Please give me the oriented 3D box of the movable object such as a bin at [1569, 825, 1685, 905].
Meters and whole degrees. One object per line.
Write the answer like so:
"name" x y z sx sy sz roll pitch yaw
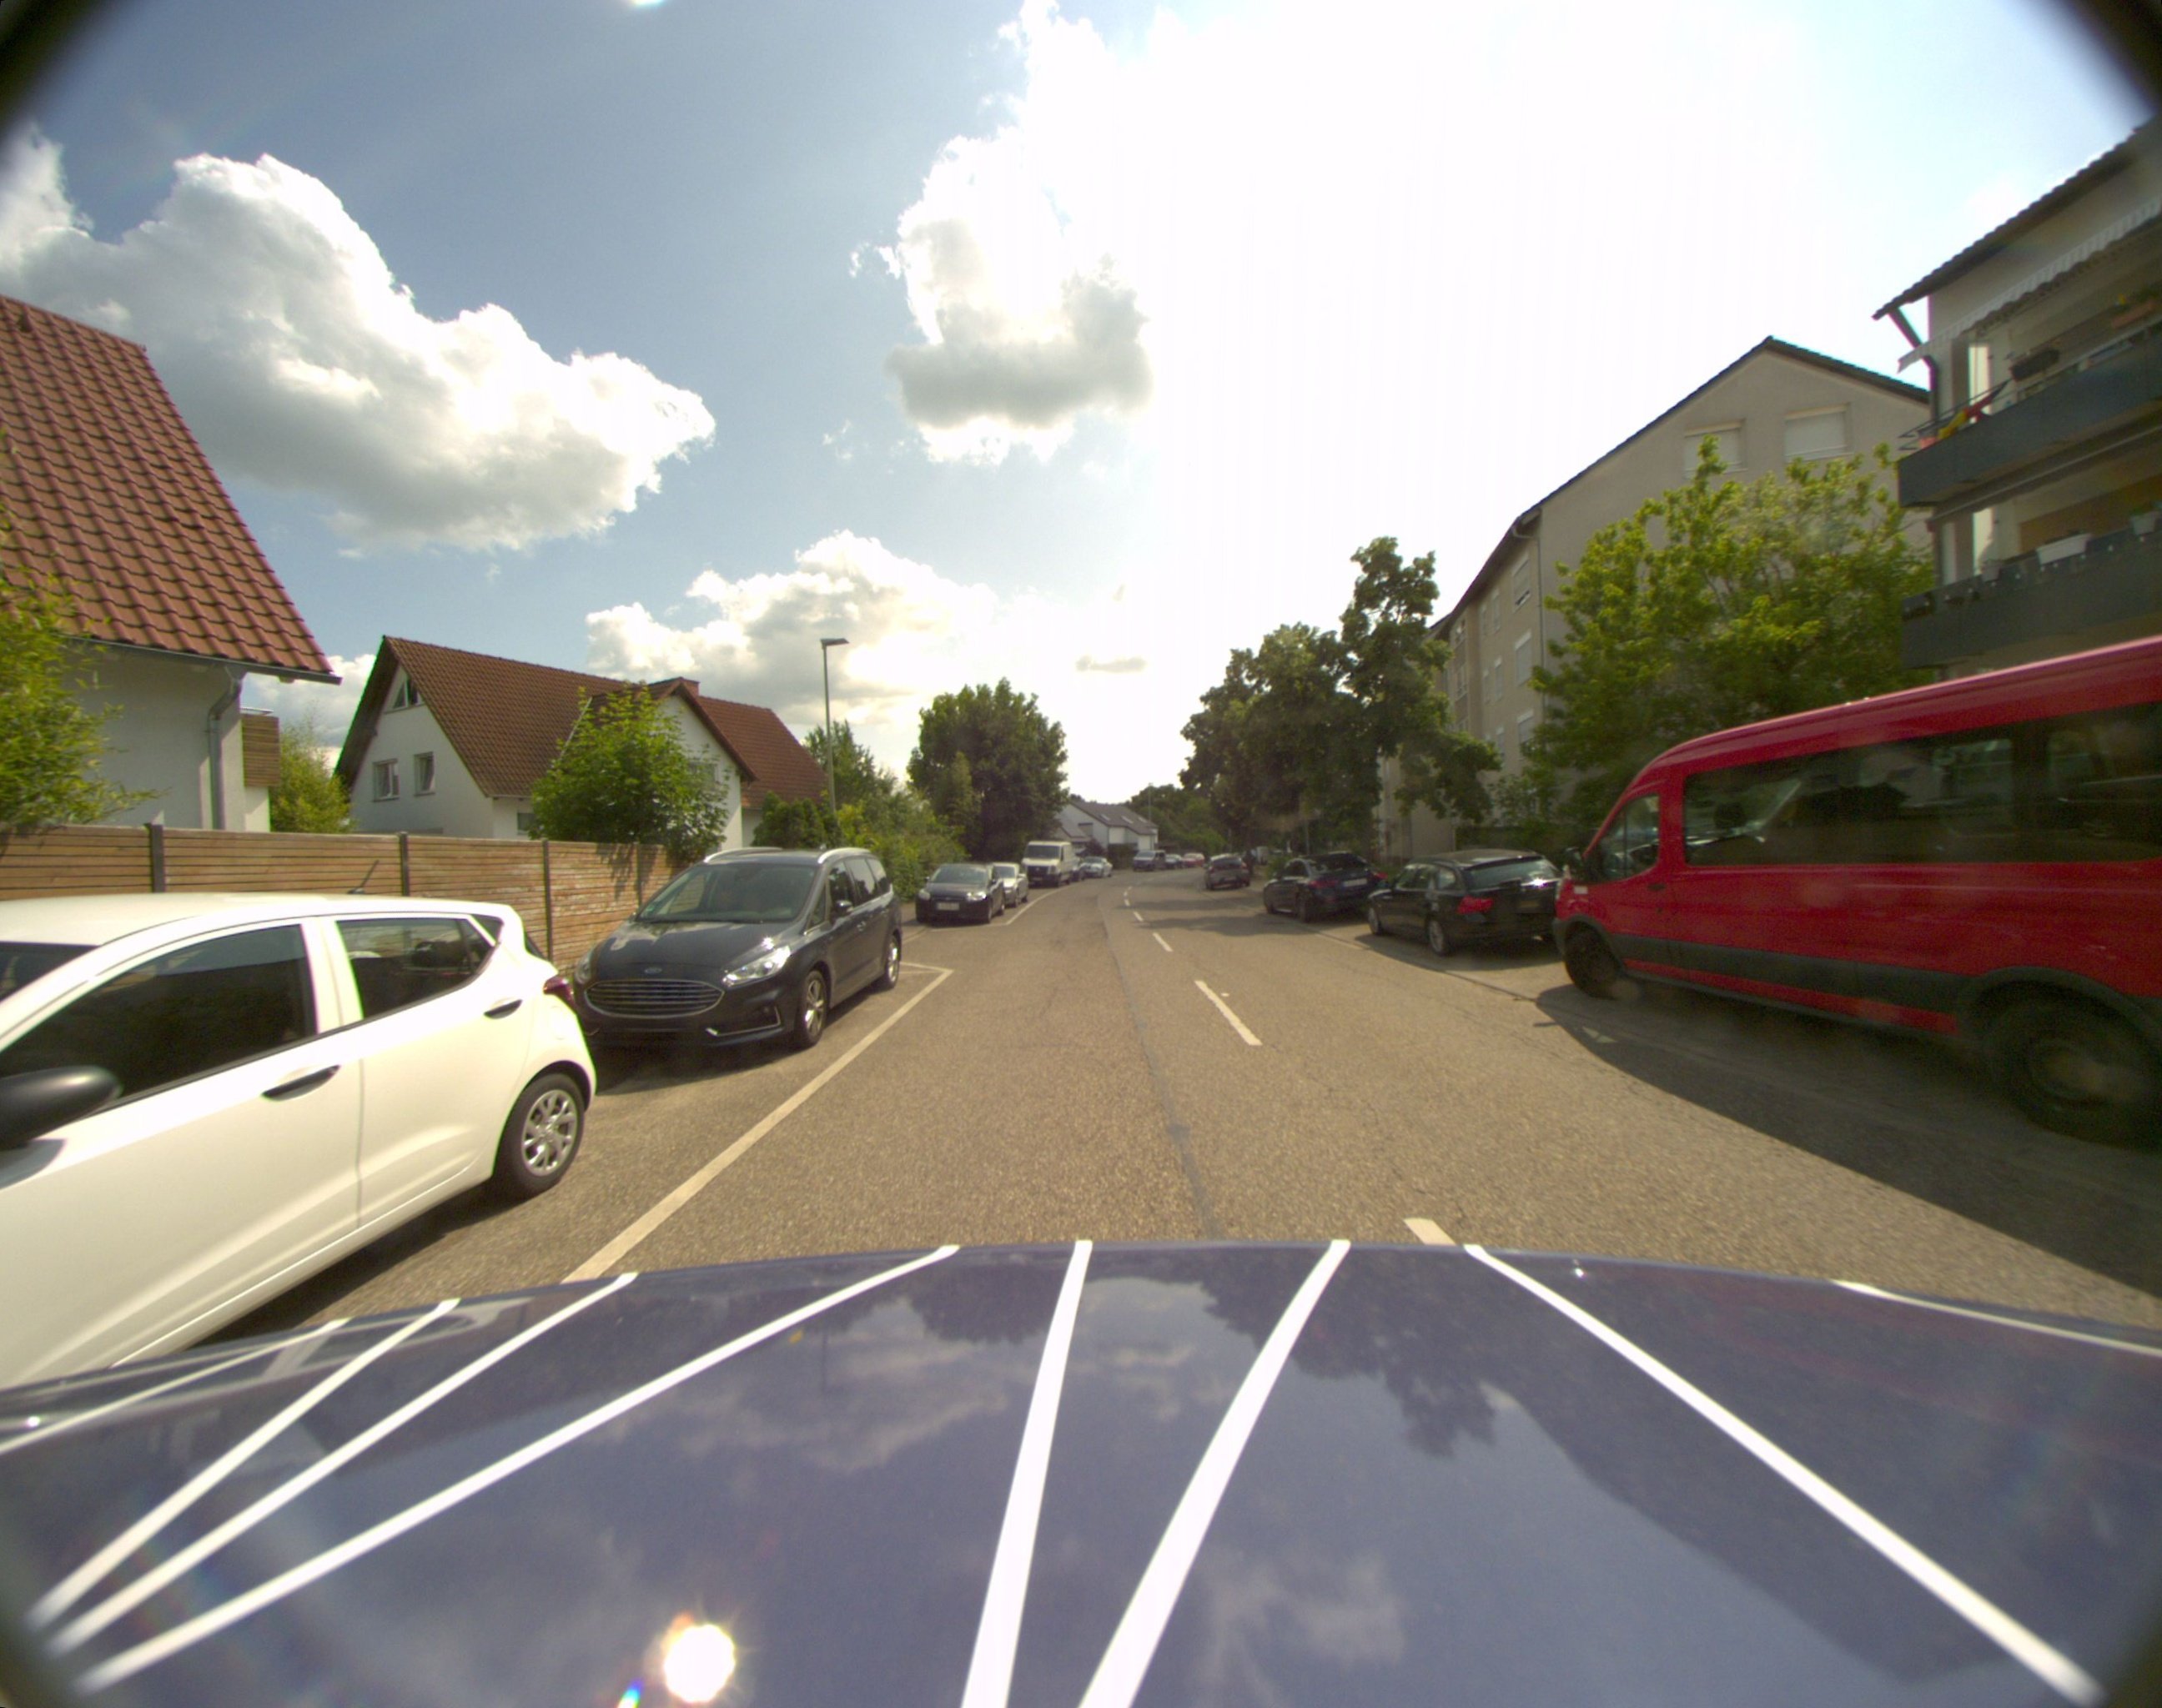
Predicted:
"movable object such as a bin" 10.906 0.213 15.229 1.299 1.477 1.305 -3 0 -5

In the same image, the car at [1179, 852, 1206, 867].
"car" 11.903 0.604 80.782 1.782 1.477 4.288 2 1 23

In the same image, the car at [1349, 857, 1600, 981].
"car" 5.829 0.845 11.968 1.692 1.428 4.465 -5 0 2

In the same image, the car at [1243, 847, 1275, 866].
"car" 16.490 0.240 70.290 1.819 1.714 3.689 -2 0 29

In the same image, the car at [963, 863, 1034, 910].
"car" -2.705 1.034 25.666 1.684 1.428 4.063 -1 0 4

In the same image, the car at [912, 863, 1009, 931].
"car" -2.967 1.015 19.647 1.731 1.496 4.295 0 0 1

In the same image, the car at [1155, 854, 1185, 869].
"car" 8.824 0.723 75.048 1.841 1.410 3.895 -2 0 24

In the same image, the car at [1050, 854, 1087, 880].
"car" -0.744 0.782 47.019 1.683 1.513 4.065 -1 0 8

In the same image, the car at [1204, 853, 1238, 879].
"car" 9.228 0.763 50.273 1.758 1.479 3.684 -6 -1 5

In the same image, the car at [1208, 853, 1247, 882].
"car" 8.692 0.783 45.228 1.758 1.479 3.684 -6 -1 5

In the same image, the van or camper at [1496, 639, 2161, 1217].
"van or camper" 5.833 0.274 5.546 2.153 2.534 6.223 -5 0 2

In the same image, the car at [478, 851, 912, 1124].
"car" -3.203 0.921 7.647 1.896 1.763 4.708 -3 1 0

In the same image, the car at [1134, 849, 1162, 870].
"car" 6.131 0.502 69.114 1.838 1.855 4.286 1 0 16

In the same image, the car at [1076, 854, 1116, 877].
"car" 1.131 0.812 53.340 1.817 1.513 4.270 -1 0 15

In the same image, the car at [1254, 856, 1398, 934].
"car" 5.584 0.861 18.001 1.735 1.468 4.631 -5 0 -1

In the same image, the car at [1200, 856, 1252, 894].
"car" 6.506 0.912 34.429 1.758 1.410 4.001 -6 0 5

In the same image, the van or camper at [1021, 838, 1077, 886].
"van or camper" -1.597 0.425 40.083 1.972 2.345 5.762 -1 0 7

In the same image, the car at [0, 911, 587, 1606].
"car" -3.301 1.050 2.126 1.446 1.496 3.671 -2 0 -1
